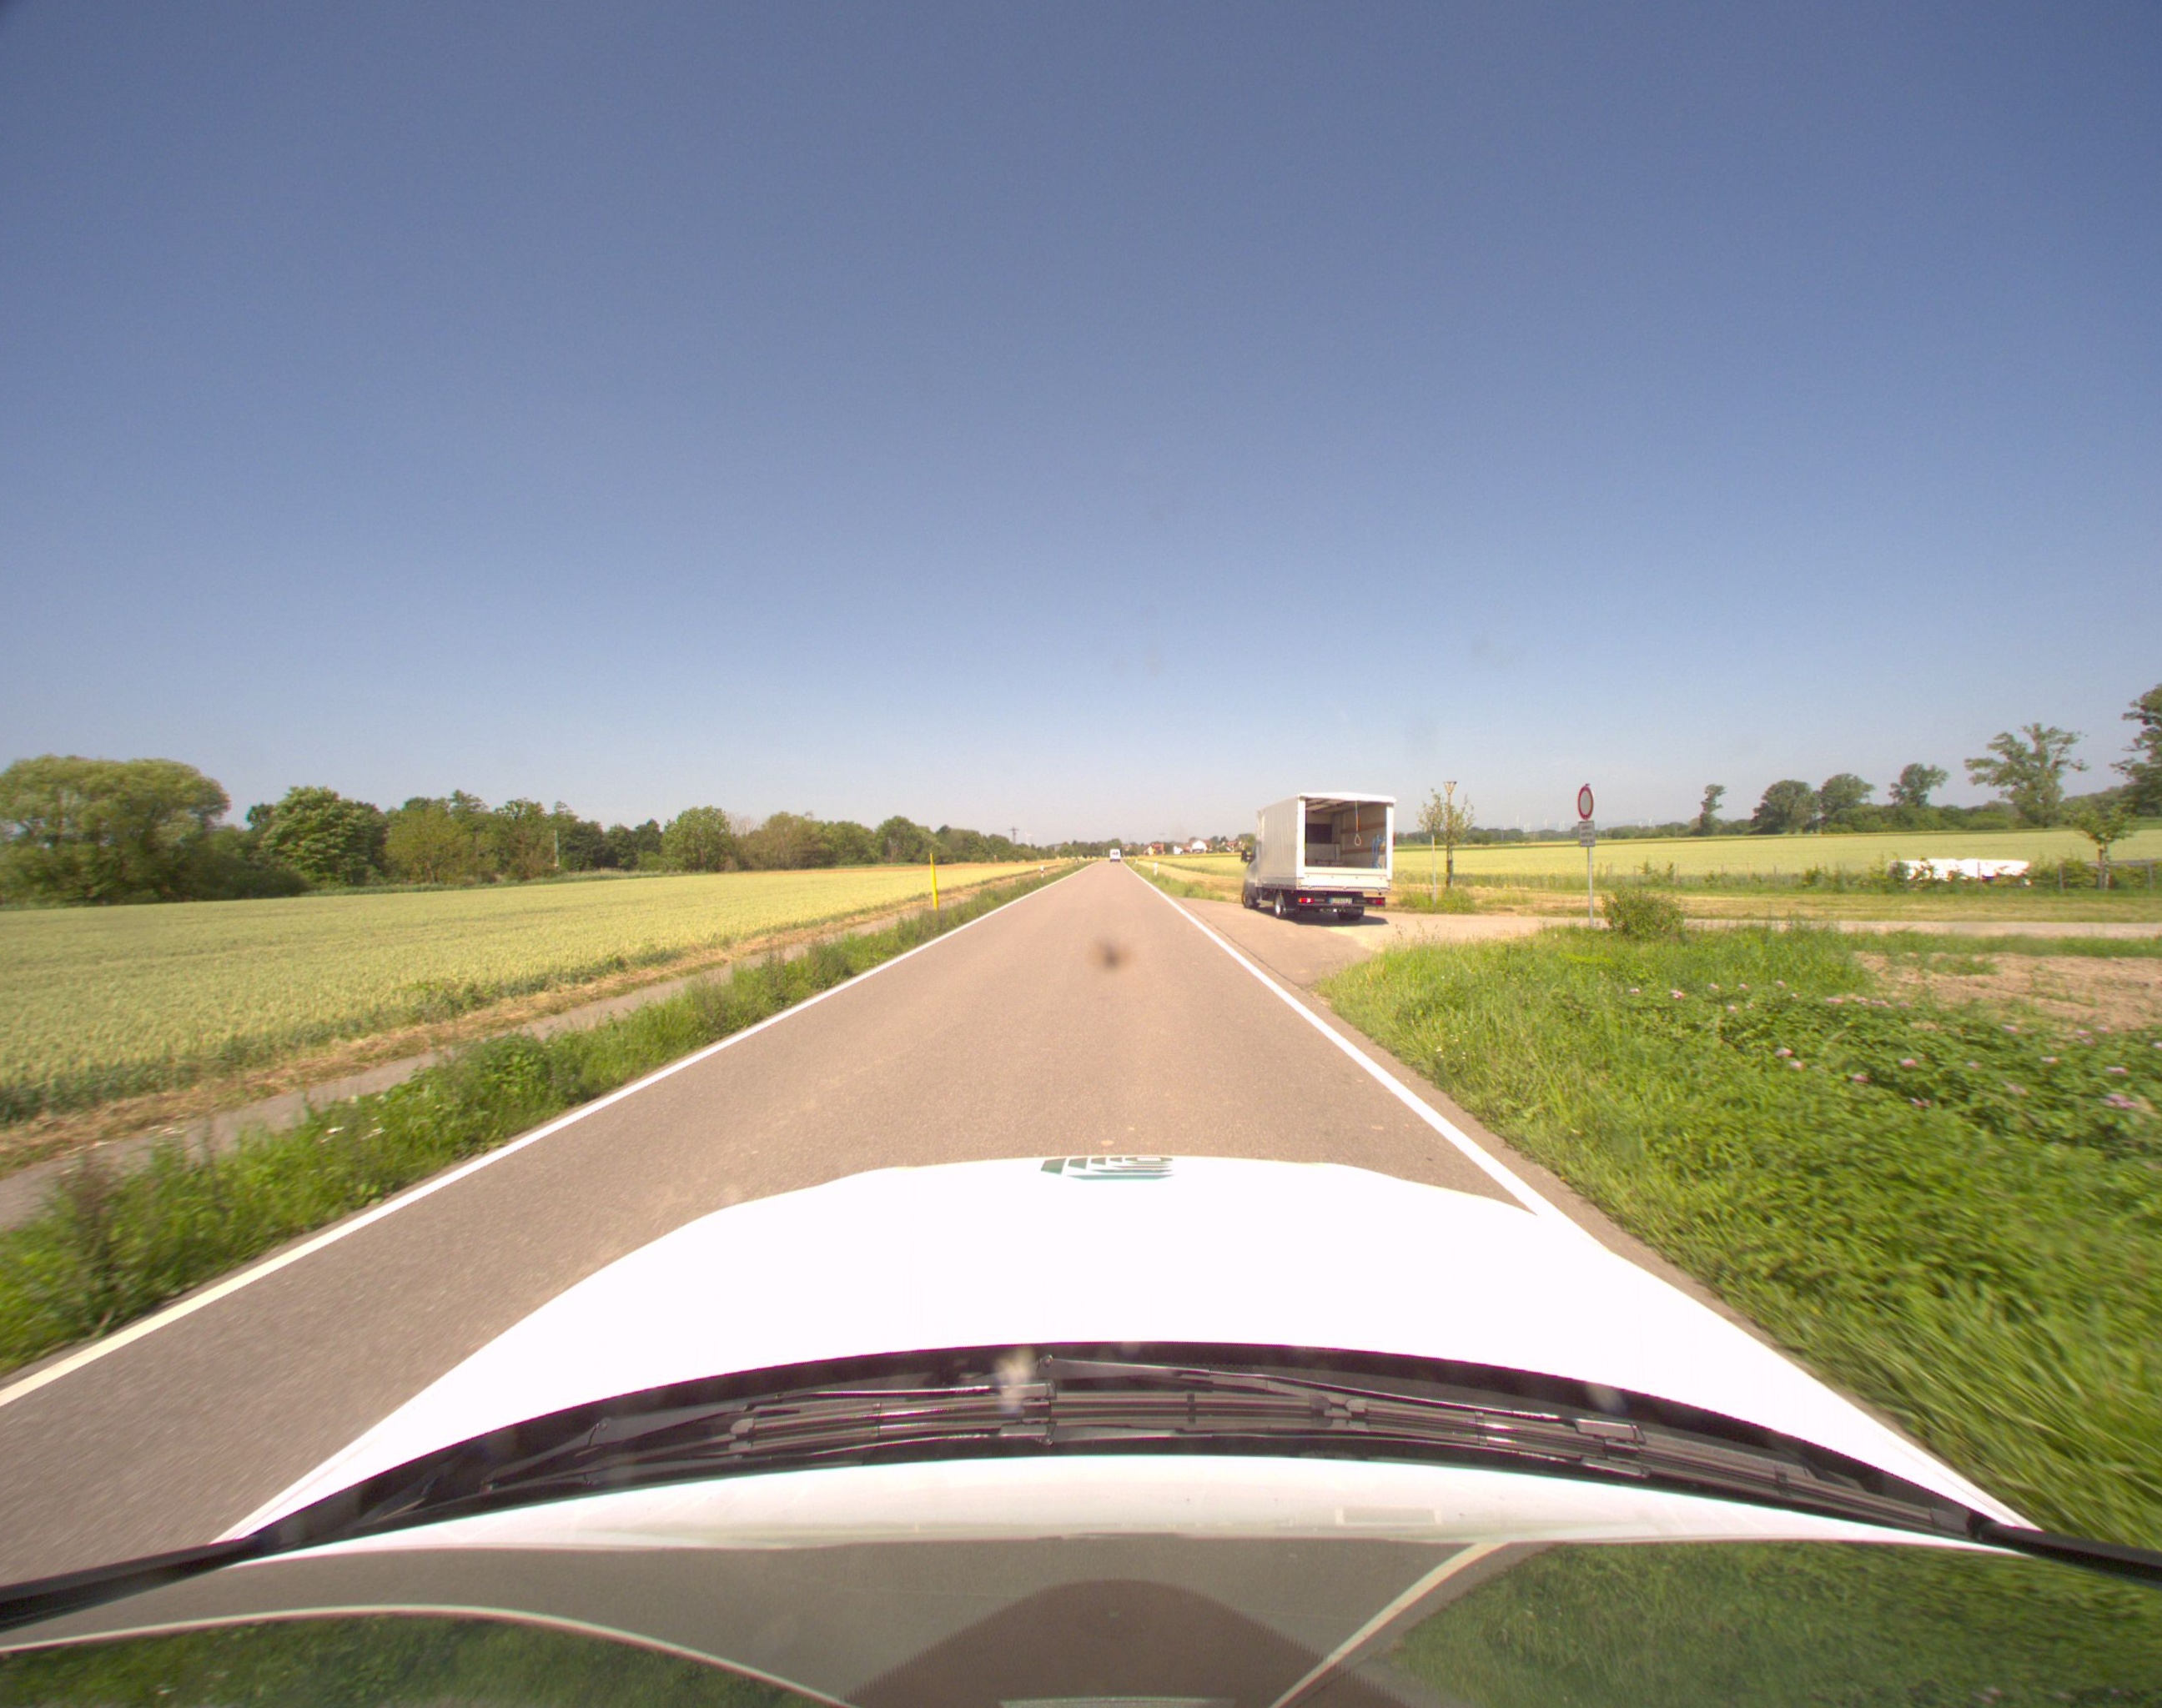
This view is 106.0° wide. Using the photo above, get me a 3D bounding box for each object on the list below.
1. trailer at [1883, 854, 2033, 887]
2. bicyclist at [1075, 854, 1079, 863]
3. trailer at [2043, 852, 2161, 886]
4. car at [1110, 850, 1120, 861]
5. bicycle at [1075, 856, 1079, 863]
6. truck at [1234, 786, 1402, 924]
[{"bbox_3d":[33.141,0.613,30.874,3.559,1.189,1.670,0,0,14],"label":"trailer"},{"bbox_3d":[-0.786,0.839,159.618,0.757,1.672,1.089,-3,-1,2],"label":"bicyclist"},{"bbox_3d":[37.832,0.526,29.535,3.512,1.189,1.670,-1,0,14],"label":"trailer"},{"bbox_3d":[6.715,0.305,161.569,2.099,2.304,5.498,0,0,2],"label":"car"},{"bbox_3d":[-0.795,1.066,159.531,0.756,1.236,2.395,-4,0,2],"label":"bicycle"},{"bbox_3d":[5.798,0.031,21.142,2.328,2.942,7.008,1,0,0],"label":"truck"}]
